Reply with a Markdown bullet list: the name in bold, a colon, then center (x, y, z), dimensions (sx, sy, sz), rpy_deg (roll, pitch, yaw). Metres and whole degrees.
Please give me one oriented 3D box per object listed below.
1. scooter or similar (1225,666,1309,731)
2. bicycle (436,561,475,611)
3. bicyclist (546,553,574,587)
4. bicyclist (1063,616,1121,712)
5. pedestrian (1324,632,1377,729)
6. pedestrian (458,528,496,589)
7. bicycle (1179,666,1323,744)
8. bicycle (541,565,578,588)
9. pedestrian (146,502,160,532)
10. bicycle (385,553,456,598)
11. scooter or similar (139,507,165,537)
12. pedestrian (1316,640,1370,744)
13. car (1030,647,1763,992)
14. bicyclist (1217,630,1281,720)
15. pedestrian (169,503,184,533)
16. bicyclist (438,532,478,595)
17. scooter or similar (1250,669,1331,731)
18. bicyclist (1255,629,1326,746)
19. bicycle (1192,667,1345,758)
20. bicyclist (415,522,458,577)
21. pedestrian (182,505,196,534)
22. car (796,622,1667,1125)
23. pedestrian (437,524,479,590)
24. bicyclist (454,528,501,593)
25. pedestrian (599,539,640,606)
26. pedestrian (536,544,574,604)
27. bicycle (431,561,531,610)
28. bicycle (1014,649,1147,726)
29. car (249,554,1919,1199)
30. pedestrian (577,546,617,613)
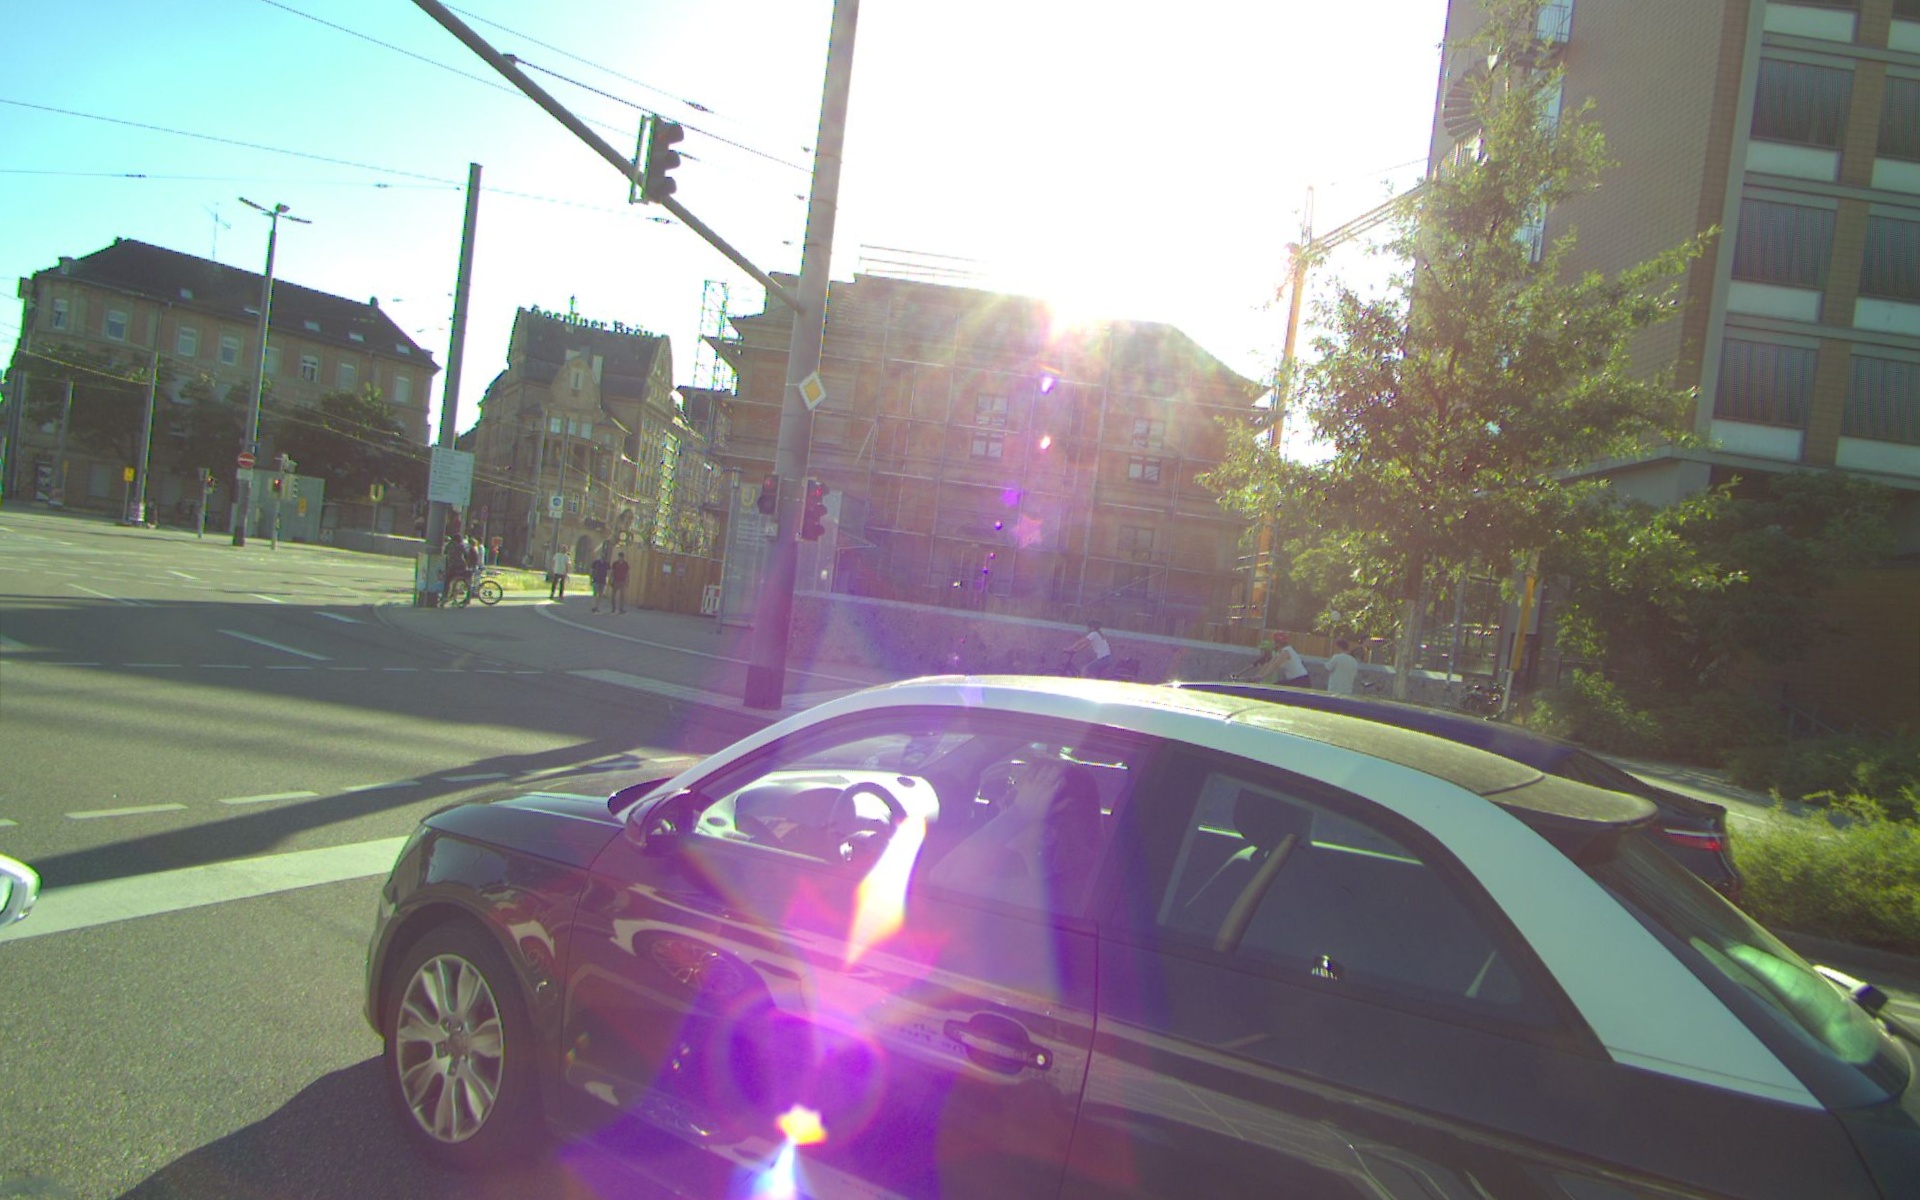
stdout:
- **scooter or similar**: center (5.684, 1.813, 18.654), dimensions (1.348, 1.007, 0.342), rpy_deg (7, -1, 25)
- **bicycle**: center (-12.508, -0.376, 24.920), dimensions (0.693, 1.062, 2.303), rpy_deg (7, 0, -29)
- **bicyclist**: center (-19.877, -1.485, 50.028), dimensions (0.835, 1.565, 1.042), rpy_deg (7, -1, -4)
- **bicyclist**: center (2.170, 1.052, 16.501), dimensions (0.661, 1.471, 0.618), rpy_deg (7, -1, 21)
- **pedestrian**: center (8.072, 1.651, 20.791), dimensions (0.461, 1.908, 0.687), rpy_deg (8, -1, -41)
- **pedestrian**: center (-16.441, -1.404, 34.254), dimensions (0.678, 1.945, 0.649), rpy_deg (7, -1, 25)
- **bicycle**: center (4.598, 1.656, 15.977), dimensions (1.997, 0.976, 0.660), rpy_deg (6, 2, -1)
- **bicycle**: center (-19.929, -1.160, 50.168), dimensions (0.892, 0.925, 2.625), rpy_deg (7, -2, -5)
- **pedestrian**: center (-57.354, -5.904, 71.490), dimensions (0.600, 2.039, 0.638), rpy_deg (6, 1, -43)
- **bicycle**: center (-16.736, -0.771, 31.194), dimensions (2.278, 1.061, 0.536), rpy_deg (8, -1, 24)
- **scooter or similar**: center (-42.338, -4.094, 52.700), dimensions (0.784, 1.392, 1.885), rpy_deg (8, -2, -44)
- **pedestrian**: center (6.450, 1.531, 16.941), dimensions (0.592, 1.662, 0.677), rpy_deg (7, 3, 29)
- **car**: center (2.957, 1.369, 7.526), dimensions (4.435, 1.420, 1.727), rpy_deg (6, -2, 31)
- **bicyclist**: center (4.575, 1.175, 15.935), dimensions (0.661, 1.330, 0.617), rpy_deg (7, -1, -3)
- **pedestrian**: center (-56.681, -5.942, 72.772), dimensions (0.600, 2.039, 0.638), rpy_deg (6, 1, -43)
- **bicyclist**: center (-12.463, -0.897, 24.958), dimensions (0.702, 1.456, 0.940), rpy_deg (8, -1, -29)
- **scooter or similar**: center (6.346, 1.910, 19.353), dimensions (1.346, 1.007, 0.343), rpy_deg (7, -1, 13)
- **bicyclist**: center (4.812, 1.251, 14.640), dimensions (0.780, 1.573, 0.667), rpy_deg (7, 2, 22)
- **bicycle**: center (4.512, 1.613, 14.744), dimensions (1.998, 0.976, 0.659), rpy_deg (7, 3, 24)
- **bicyclist**: center (-16.118, -1.550, 30.976), dimensions (0.930, 1.575, 0.516), rpy_deg (7, -1, 24)
- **pedestrian**: center (-55.877, -5.847, 72.902), dimensions (0.600, 2.039, 0.638), rpy_deg (6, 1, -43)
- **car**: center (1.232, 1.094, 5.377), dimensions (3.934, 1.420, 1.627), rpy_deg (6, -2, 32)
- **pedestrian**: center (-16.743, -1.431, 33.551), dimensions (0.748, 2.037, 0.733), rpy_deg (7, -1, 25)
- **bicyclist**: center (-12.828, -1.037, 26.724), dimensions (0.936, 1.575, 0.705), rpy_deg (8, -1, -28)
- **pedestrian**: center (-9.928, -0.783, 29.349), dimensions (0.672, 1.828, 0.672), rpy_deg (7, -1, 11)
- **pedestrian**: center (-13.283, -0.851, 32.987), dimensions (0.678, 1.835, 0.649), rpy_deg (7, -1, 25)
- **bicycle**: center (-12.744, -0.374, 26.808), dimensions (2.293, 1.062, 0.696), rpy_deg (6, -1, -28)
- **bicycle**: center (1.982, 1.408, 16.526), dimensions (1.997, 0.976, 0.659), rpy_deg (6, 2, 21)
- **car**: center (0.034, 0.829, 2.674), dimensions (3.934, 1.420, 1.627), rpy_deg (6, -2, 32)
- **pedestrian**: center (-10.380, -0.574, 28.778), dimensions (0.672, 1.830, 0.672), rpy_deg (7, 2, 11)
